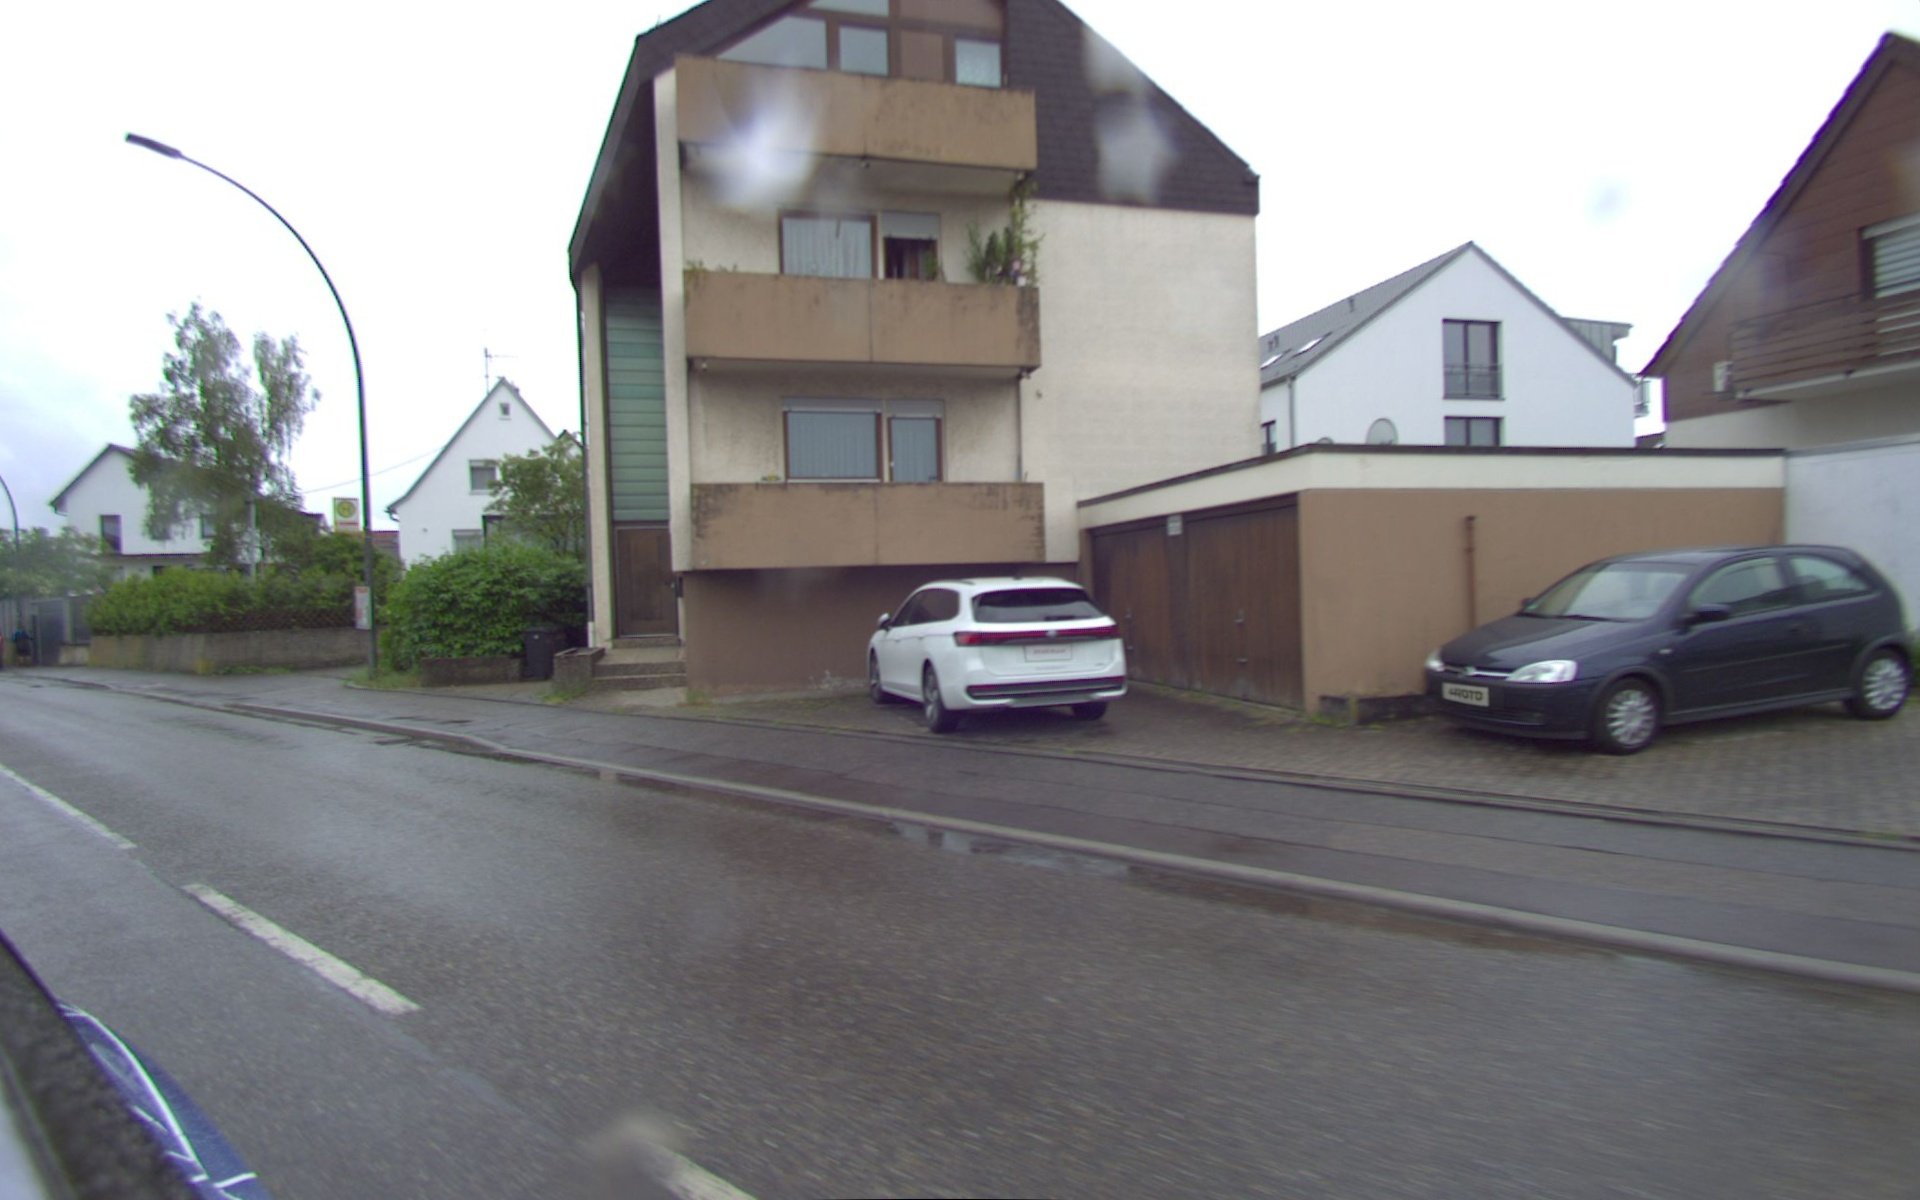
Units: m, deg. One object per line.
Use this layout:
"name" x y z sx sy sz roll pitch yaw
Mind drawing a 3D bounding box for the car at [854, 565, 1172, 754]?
"car" 0.251 0.510 11.048 1.875 1.488 4.896 -3 0 -16

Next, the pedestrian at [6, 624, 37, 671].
"pedestrian" -39.066 1.960 42.130 0.669 1.900 0.812 -1 -1 -20

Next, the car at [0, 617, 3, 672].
"car" -41.716 1.741 42.066 5.913 2.669 2.073 -3 1 40

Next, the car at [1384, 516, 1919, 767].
"car" 5.608 0.229 8.060 3.713 1.519 1.706 -4 2 -11
